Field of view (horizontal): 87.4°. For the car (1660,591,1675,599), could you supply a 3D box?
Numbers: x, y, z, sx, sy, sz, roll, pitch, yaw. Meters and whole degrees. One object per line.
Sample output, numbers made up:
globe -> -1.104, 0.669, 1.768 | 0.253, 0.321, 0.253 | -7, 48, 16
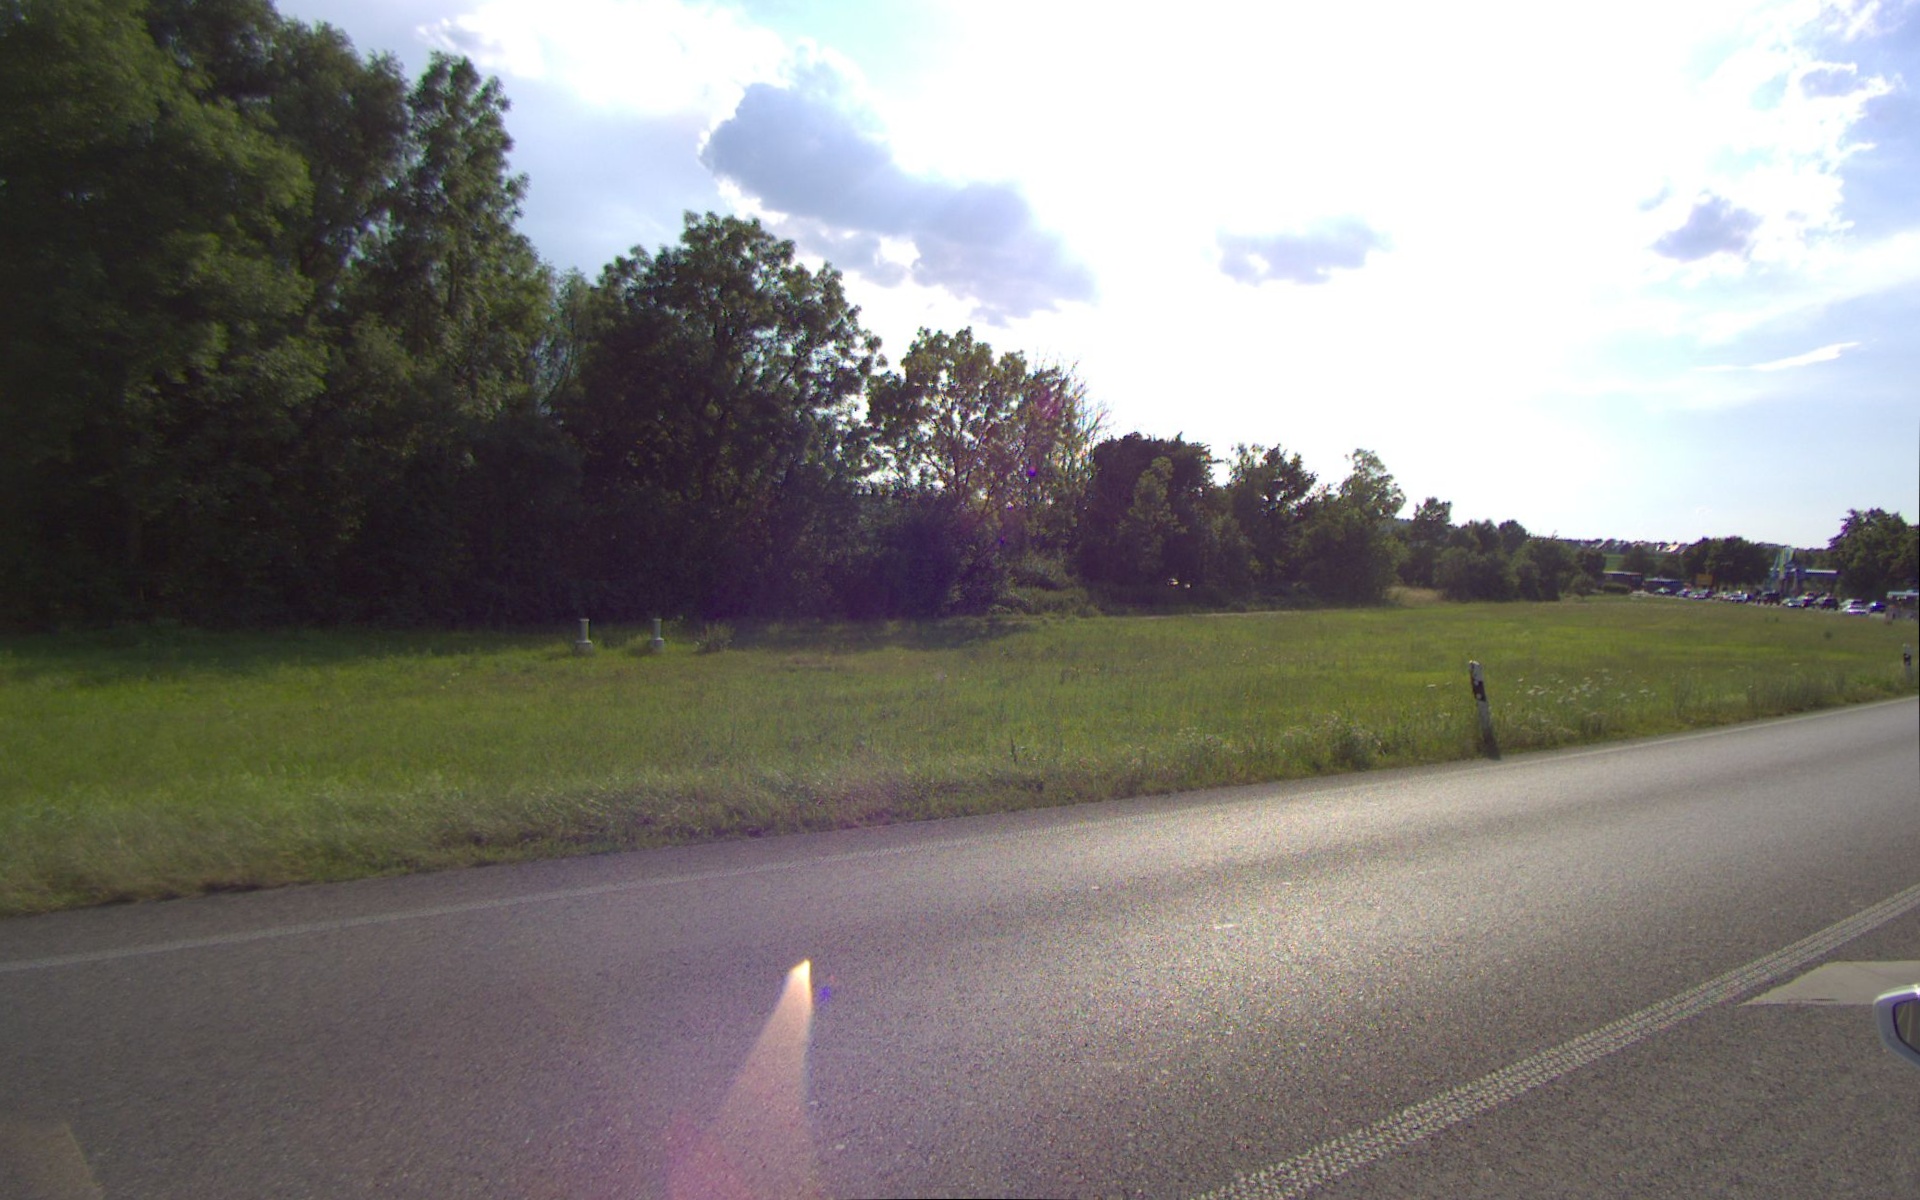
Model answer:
car -> 140.492, -0.973, 199.518 | 1.854, 1.621, 3.993 | 2, 1, 29

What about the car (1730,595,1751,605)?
car -> 133.534, 0.034, 171.853 | 2.054, 1.621, 3.993 | 2, 1, 28

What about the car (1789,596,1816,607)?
car -> 126.324, 0.206, 150.674 | 2.052, 1.621, 3.996 | 2, 1, 25

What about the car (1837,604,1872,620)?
car -> 101.655, 1.341, 114.195 | 1.812, 1.678, 3.997 | 2, 0, 25

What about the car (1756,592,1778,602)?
car -> 130.082, -0.519, 161.980 | 2.054, 1.621, 3.993 | 2, 1, 28

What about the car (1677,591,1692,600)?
car -> 139.198, -0.809, 193.073 | 1.854, 1.621, 3.993 | 2, 1, 29

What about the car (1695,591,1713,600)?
car -> 137.083, -0.874, 184.994 | 1.852, 1.621, 3.996 | 2, 1, 26

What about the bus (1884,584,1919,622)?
bus -> 89.412, 0.341, 93.877 | 2.757, 3.224, 12.088 | 2, 0, 35

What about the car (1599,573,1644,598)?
car -> 142.999, -3.069, 217.419 | 3.480, 5.127, 13.248 | 2, 1, 12

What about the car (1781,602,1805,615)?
car -> 113.860, 1.214, 137.285 | 1.814, 1.678, 3.992 | 2, 0, 30

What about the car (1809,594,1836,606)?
car -> 122.701, -0.032, 142.925 | 2.054, 1.621, 3.993 | 2, 1, 28
